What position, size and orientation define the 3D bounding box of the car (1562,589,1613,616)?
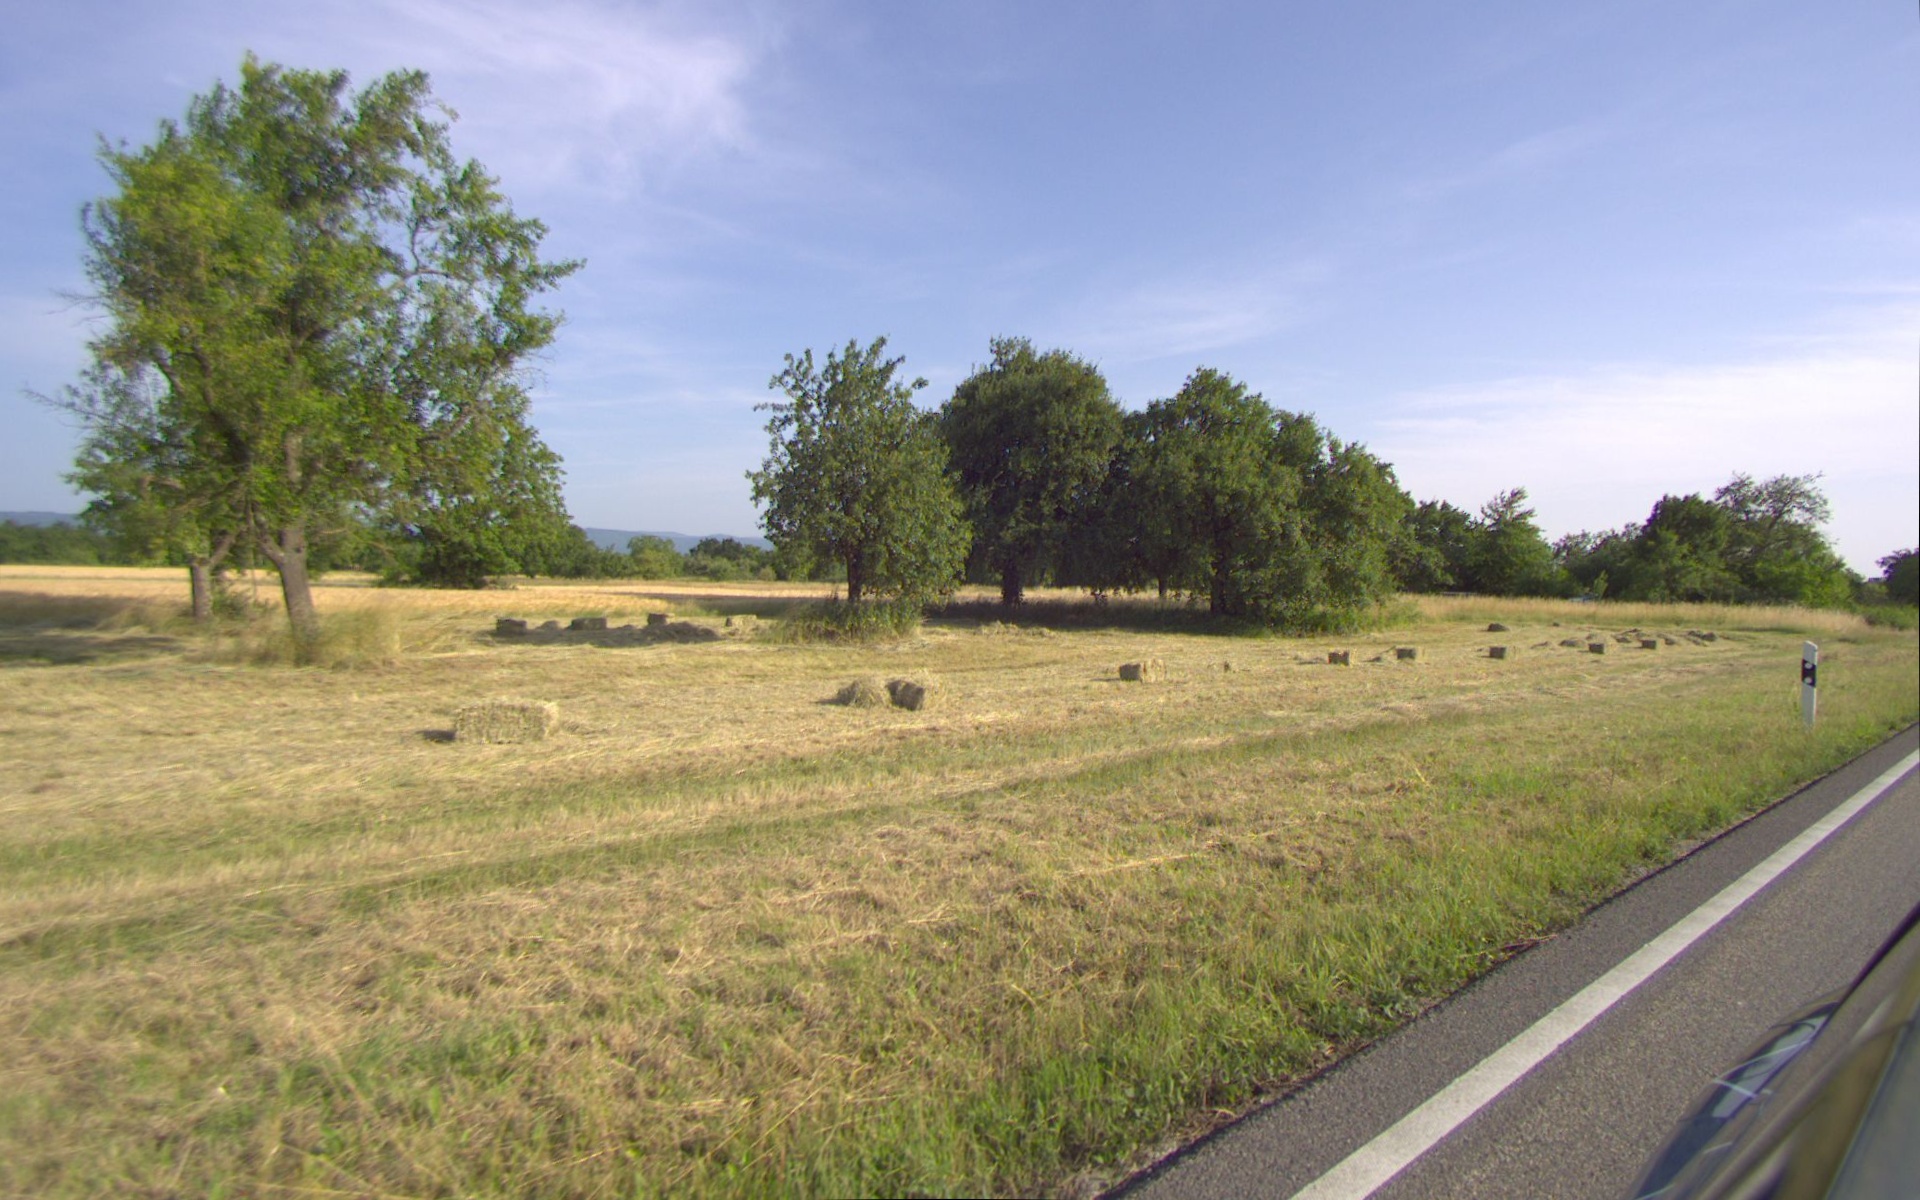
[{"bbox_3d":[43.987,0.168,70.894,3.930,1.772,1.997,0,0,-41],"label":"car"}]
